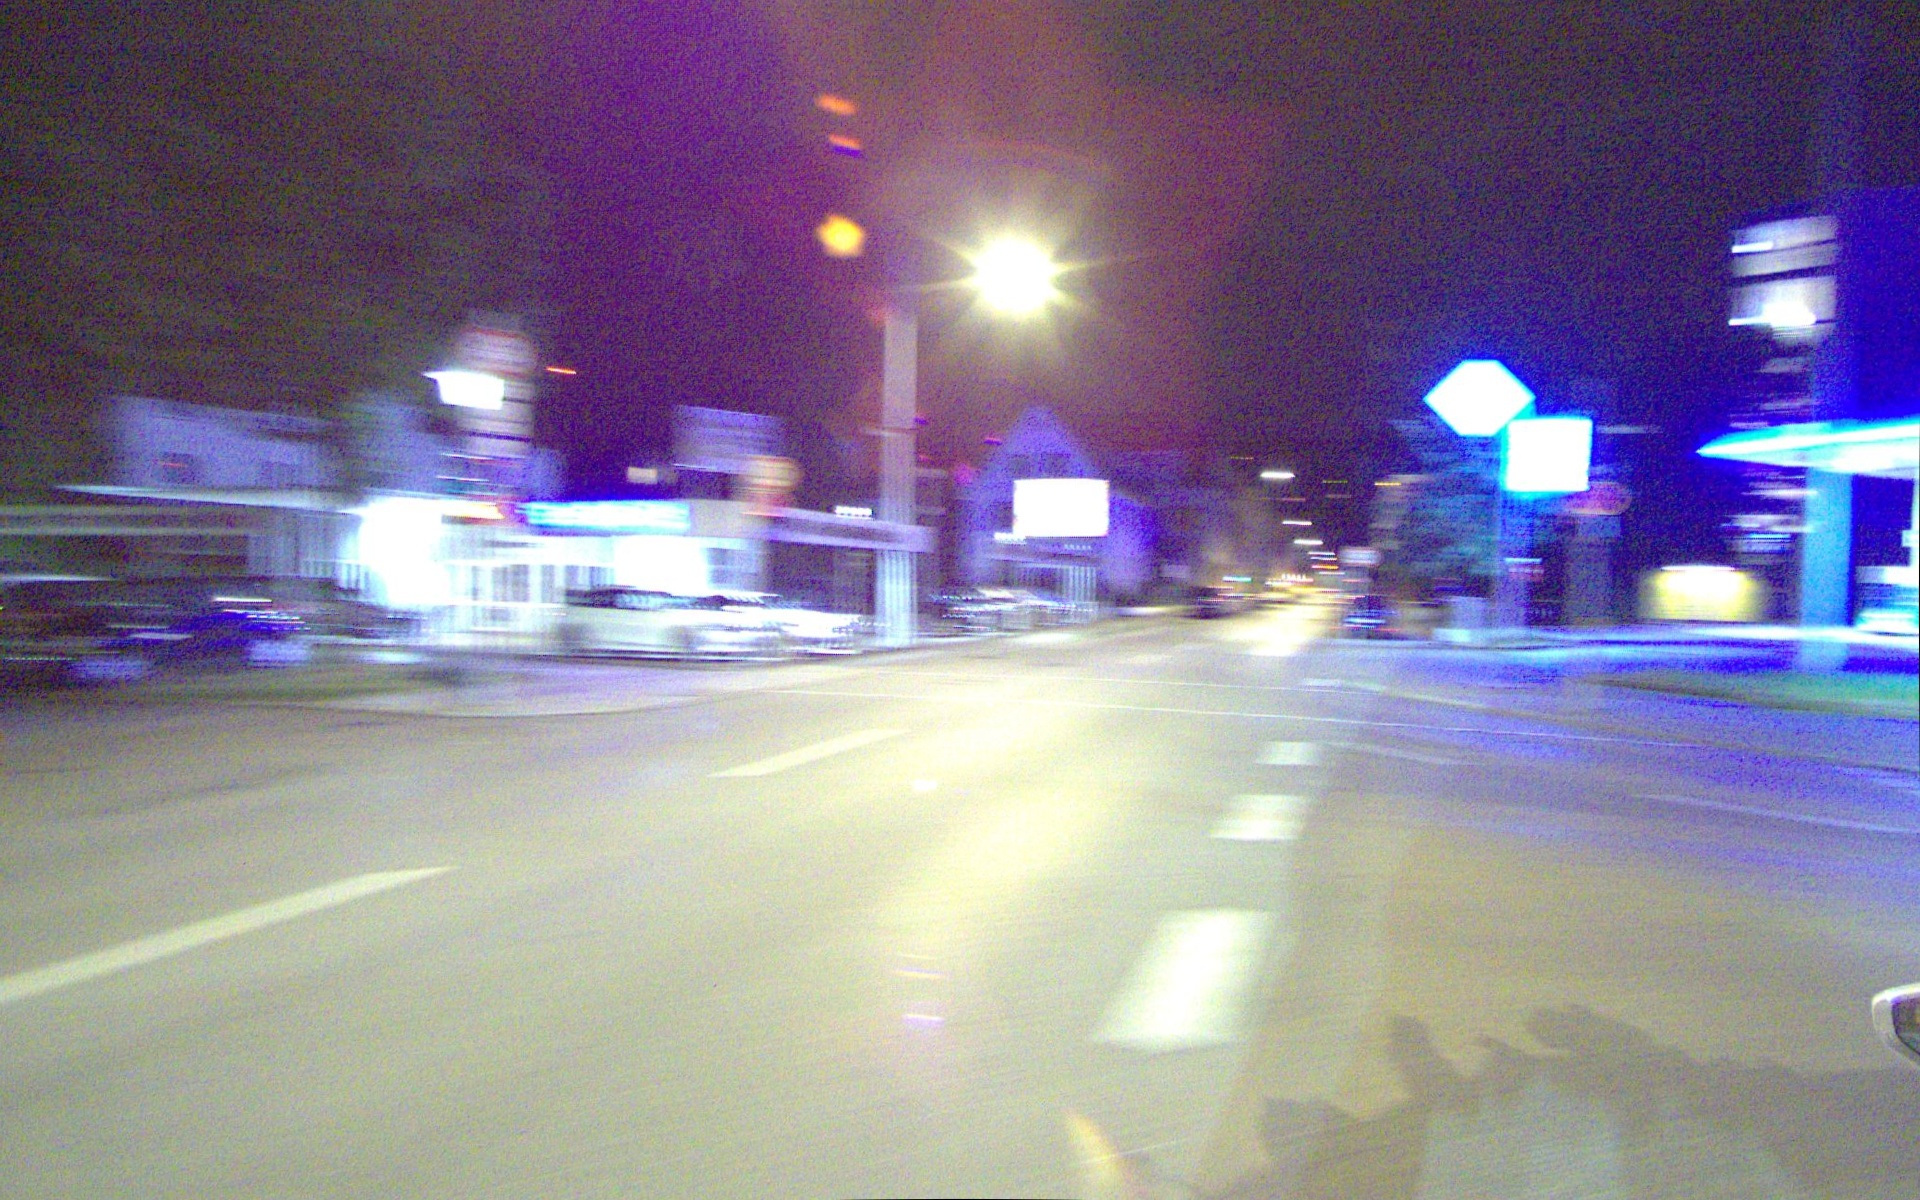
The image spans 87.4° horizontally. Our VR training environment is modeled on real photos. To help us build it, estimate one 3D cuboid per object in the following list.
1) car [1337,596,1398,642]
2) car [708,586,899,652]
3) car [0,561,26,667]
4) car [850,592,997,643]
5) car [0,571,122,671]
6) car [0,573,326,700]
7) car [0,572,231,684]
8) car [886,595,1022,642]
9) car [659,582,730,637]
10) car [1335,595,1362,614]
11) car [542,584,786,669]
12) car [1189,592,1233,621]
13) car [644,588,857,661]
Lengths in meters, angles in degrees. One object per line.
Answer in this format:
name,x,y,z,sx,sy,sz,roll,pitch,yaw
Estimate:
car,15.267,0.661,37.675,1.961,1.536,3.998,2,1,22
car,-3.981,0.455,25.650,4.366,1.469,2.000,2,0,21
car,-19.236,0.230,17.424,1.960,1.971,4.001,2,1,17
car,-1.176,0.547,32.899,4.366,1.469,2.000,2,0,21
car,-17.025,0.332,16.946,1.960,1.644,4.001,2,1,17
car,-12.358,0.458,15.540,1.960,1.644,4.001,2,1,17
car,-14.790,0.389,16.638,1.960,1.644,4.001,2,1,17
car,-0.217,0.633,35.609,4.366,1.469,2.000,2,0,21
car,-9.521,0.335,36.300,1.963,1.799,3.995,1,0,-8
car,31.997,0.382,82.768,1.961,1.540,3.998,2,0,22
car,-5.923,0.483,20.160,4.366,1.469,2.000,2,0,21
car,14.462,0.385,57.844,1.961,1.522,3.999,2,0,21
car,-4.796,0.520,23.053,4.366,1.469,2.000,2,0,20
